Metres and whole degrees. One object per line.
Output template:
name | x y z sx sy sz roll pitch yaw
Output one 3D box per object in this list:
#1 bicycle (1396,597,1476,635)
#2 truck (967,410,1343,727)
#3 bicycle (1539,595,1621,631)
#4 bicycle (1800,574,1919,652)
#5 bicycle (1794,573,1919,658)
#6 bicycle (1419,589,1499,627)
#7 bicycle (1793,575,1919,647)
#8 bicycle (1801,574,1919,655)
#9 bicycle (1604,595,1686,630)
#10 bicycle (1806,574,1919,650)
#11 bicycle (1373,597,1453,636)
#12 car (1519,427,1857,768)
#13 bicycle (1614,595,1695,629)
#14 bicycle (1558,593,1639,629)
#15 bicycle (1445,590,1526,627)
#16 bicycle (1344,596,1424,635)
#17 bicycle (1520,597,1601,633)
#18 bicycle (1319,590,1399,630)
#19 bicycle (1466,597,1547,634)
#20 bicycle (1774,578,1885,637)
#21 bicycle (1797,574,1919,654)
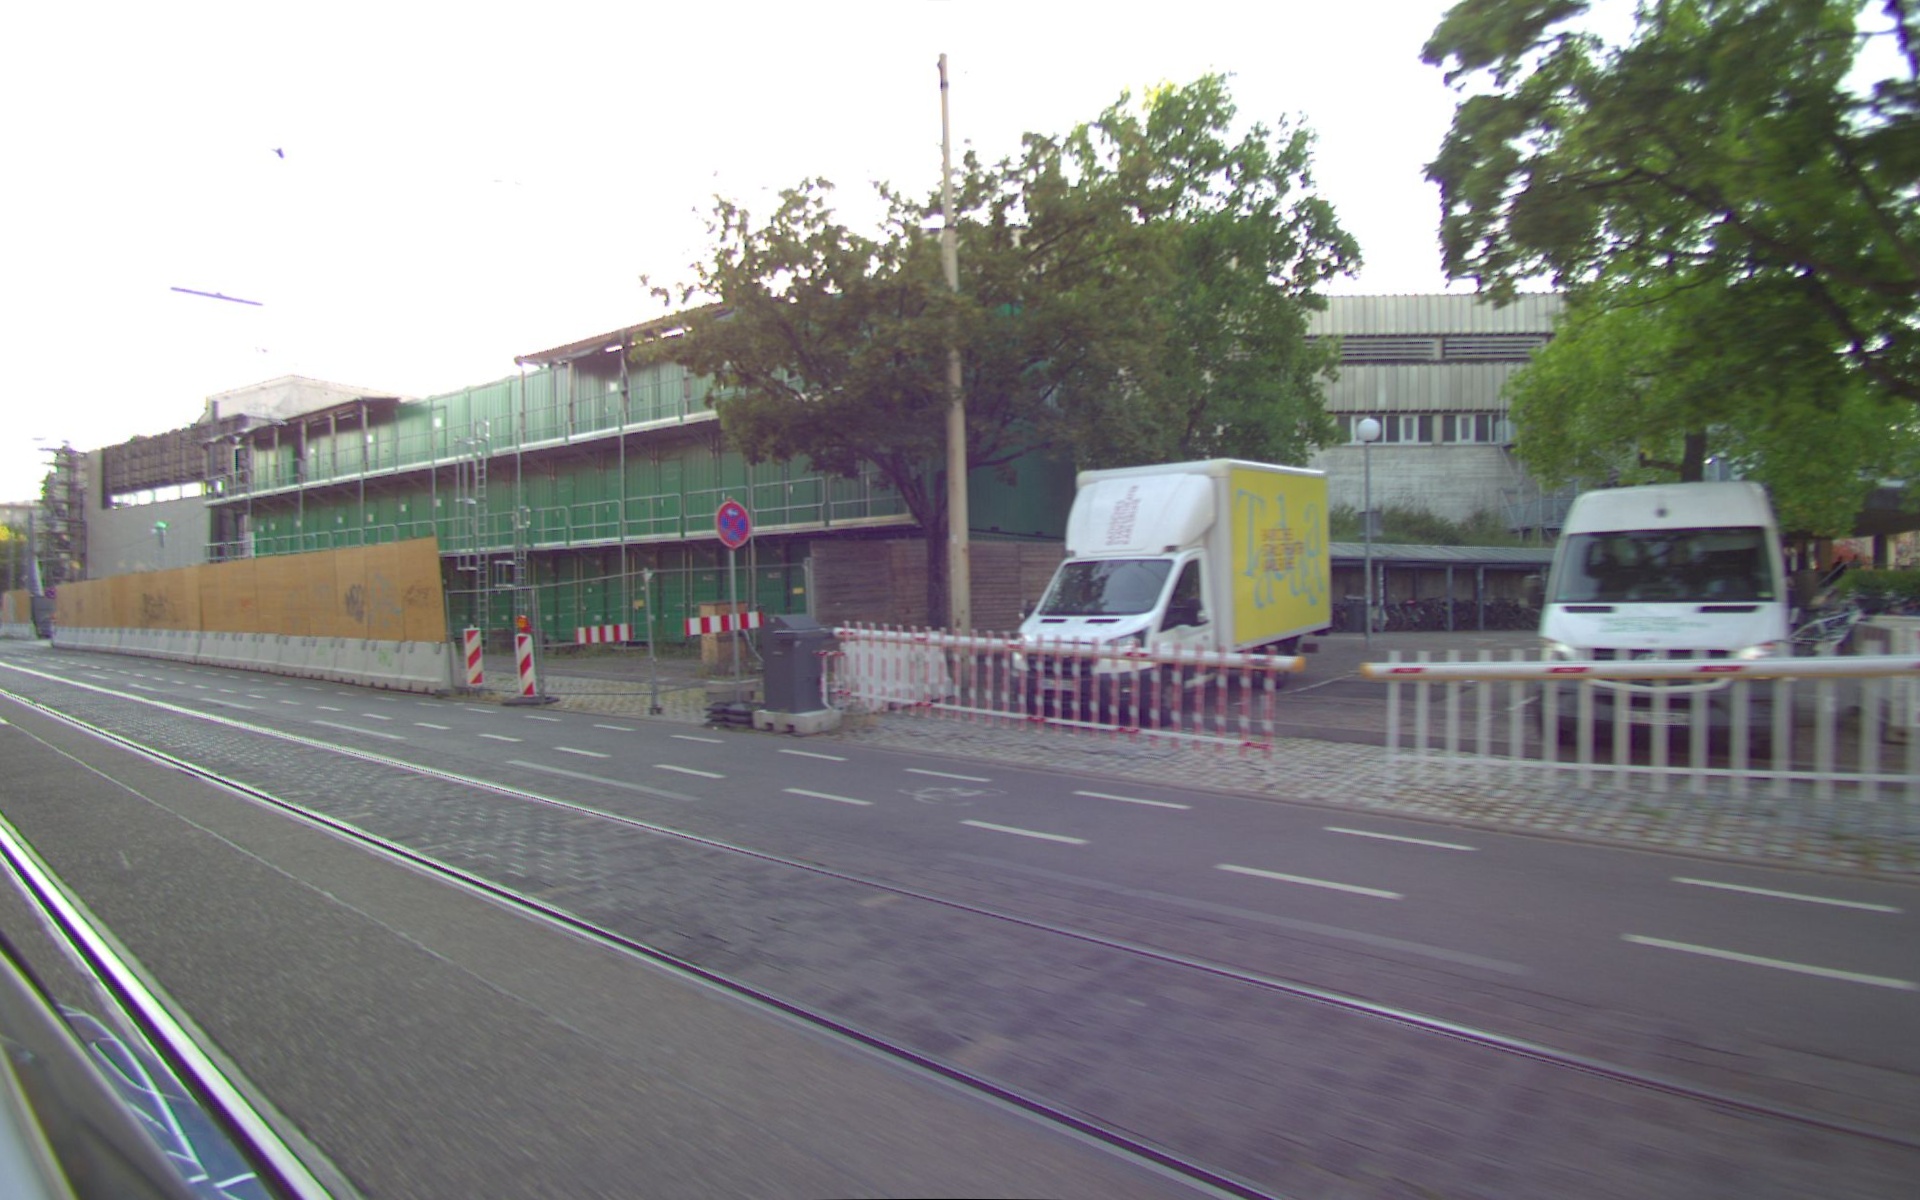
bicycle | 15.597 0.529 33.245 0.798 1.191 2.271 -1 -1 -32
truck | 3.201 -0.348 14.621 2.561 3.454 6.995 -2 -1 36
bicycle | 21.460 0.456 35.071 0.798 1.191 2.271 -1 -1 -32
bicycle | 16.780 0.243 18.630 0.535 1.379 1.978 -1 -1 -45
bicycle | 15.433 0.262 17.125 0.535 1.379 1.978 -1 -1 -45
bicycle | 16.549 0.269 33.594 0.798 1.191 2.271 -1 -1 -32
bicycle | 17.996 0.228 20.252 0.535 1.379 1.978 -1 -1 -45
bicycle | 16.013 0.253 17.671 0.535 1.379 1.978 -1 -1 -45
bicycle | 24.563 0.449 36.347 0.798 1.191 2.271 -1 -1 -32
bicycle | 17.281 0.230 19.089 0.535 1.379 1.978 -1 -1 -45
bicycle | 14.564 0.531 32.621 0.798 1.191 2.271 -1 -1 -32
car | 7.516 -0.022 10.521 2.226 2.617 5.170 -2 -1 37
bicycle | 25.344 0.446 36.958 0.798 1.191 2.271 -1 -1 -32
bicycle | 22.365 0.396 35.498 0.798 1.191 2.271 -1 -1 -32
bicycle | 17.537 0.301 33.822 0.798 1.191 2.271 -1 -1 -32
bicycle | 13.484 0.503 32.264 0.798 1.191 2.271 -1 -1 -32
bicycle | 20.562 0.508 34.701 0.798 1.191 2.271 -1 -1 -32
bicycle | 12.568 0.318 31.962 0.798 1.191 2.271 -1 -1 -32
bicycle | 18.368 0.535 34.084 0.798 1.191 2.271 -1 -1 -32
bicycle | 20.913 0.188 24.380 0.535 1.379 1.978 -1 -1 -45
bicycle | 16.395 0.249 18.224 0.535 1.379 1.978 -1 -1 -45
